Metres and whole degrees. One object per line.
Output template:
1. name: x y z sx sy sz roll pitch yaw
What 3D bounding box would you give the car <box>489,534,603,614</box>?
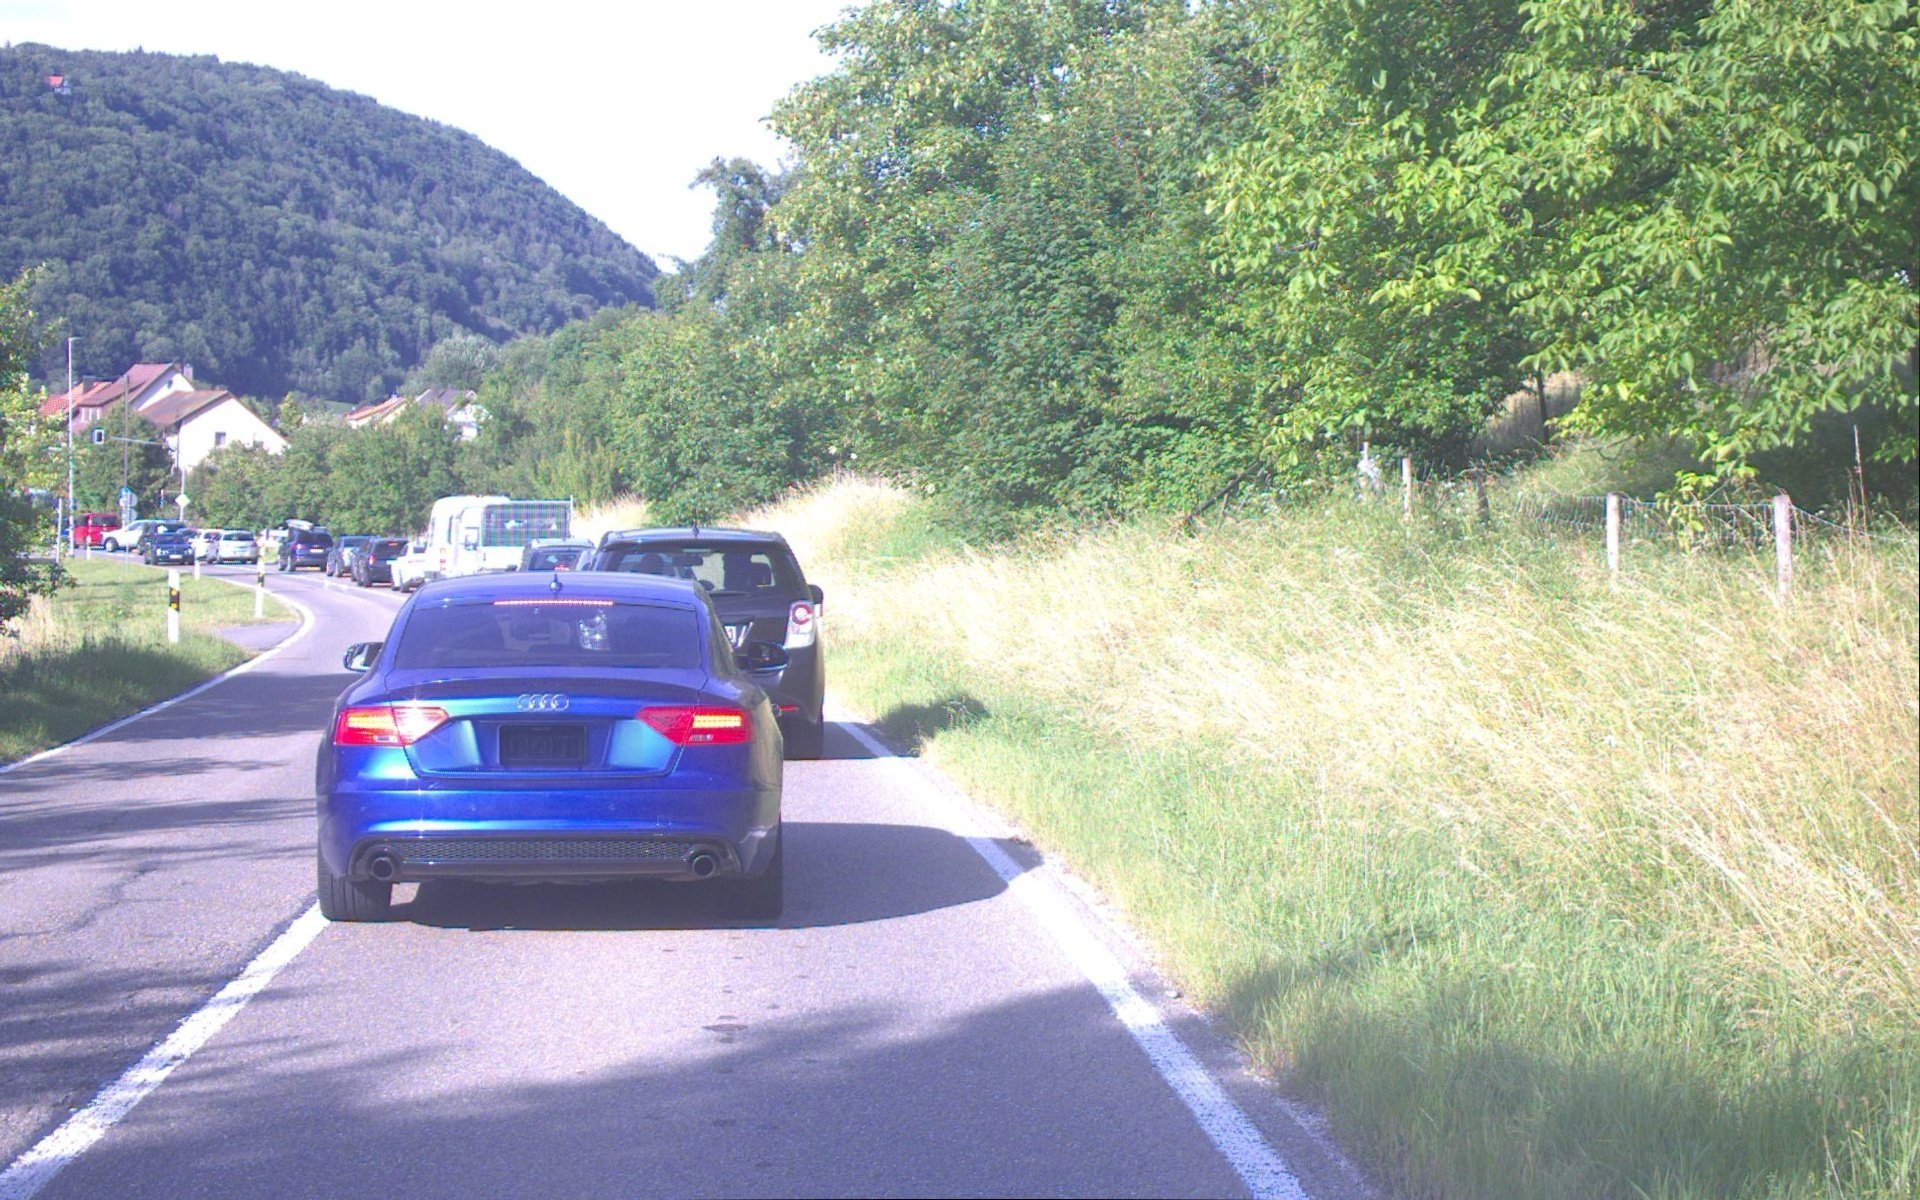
1. car: -8.002 -0.502 66.229 1.993 1.477 4.001 1 1 -9

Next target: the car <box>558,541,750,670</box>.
1. car: -3.444 0.046 39.361 1.993 1.382 4.000 1 1 -2

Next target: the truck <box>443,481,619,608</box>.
1. truck: -9.846 -1.262 77.868 2.863 2.656 10.396 0 1 -13

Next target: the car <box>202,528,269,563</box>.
1. car: -31.425 -2.370 149.041 1.993 1.477 4.001 0 1 -25

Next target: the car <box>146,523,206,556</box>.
1. car: -33.314 -2.557 146.012 1.993 1.371 4.001 0 1 -20

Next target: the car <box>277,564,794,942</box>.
1. car: -1.646 0.537 14.574 1.793 1.355 4.000 0 1 -1

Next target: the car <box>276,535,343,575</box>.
1. car: -24.947 -1.727 131.832 1.993 1.477 4.001 0 1 -19

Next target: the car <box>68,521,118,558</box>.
1. car: -47.231 -3.289 187.170 1.993 2.007 4.001 0 1 -23

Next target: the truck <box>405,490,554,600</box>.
1. truck: -12.571 -1.424 89.128 2.863 2.656 10.648 0 1 -13

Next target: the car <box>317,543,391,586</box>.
1. car: -21.346 -1.241 121.041 1.993 1.477 4.001 0 1 -19

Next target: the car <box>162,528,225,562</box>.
1. car: -34.834 -2.486 156.263 1.993 1.477 4.001 0 1 -25

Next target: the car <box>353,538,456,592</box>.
1. car: -15.646 -0.983 96.694 1.993 1.477 4.001 0 1 -23

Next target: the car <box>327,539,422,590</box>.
1. car: -17.746 -1.083 104.103 1.993 1.477 4.001 0 1 -23

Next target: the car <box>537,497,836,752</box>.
1. car: -1.926 0.146 25.154 1.993 1.696 4.000 1 0 -2

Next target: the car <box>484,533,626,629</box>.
1. car: -6.631 -0.318 56.029 1.993 1.477 4.001 0 1 -11
